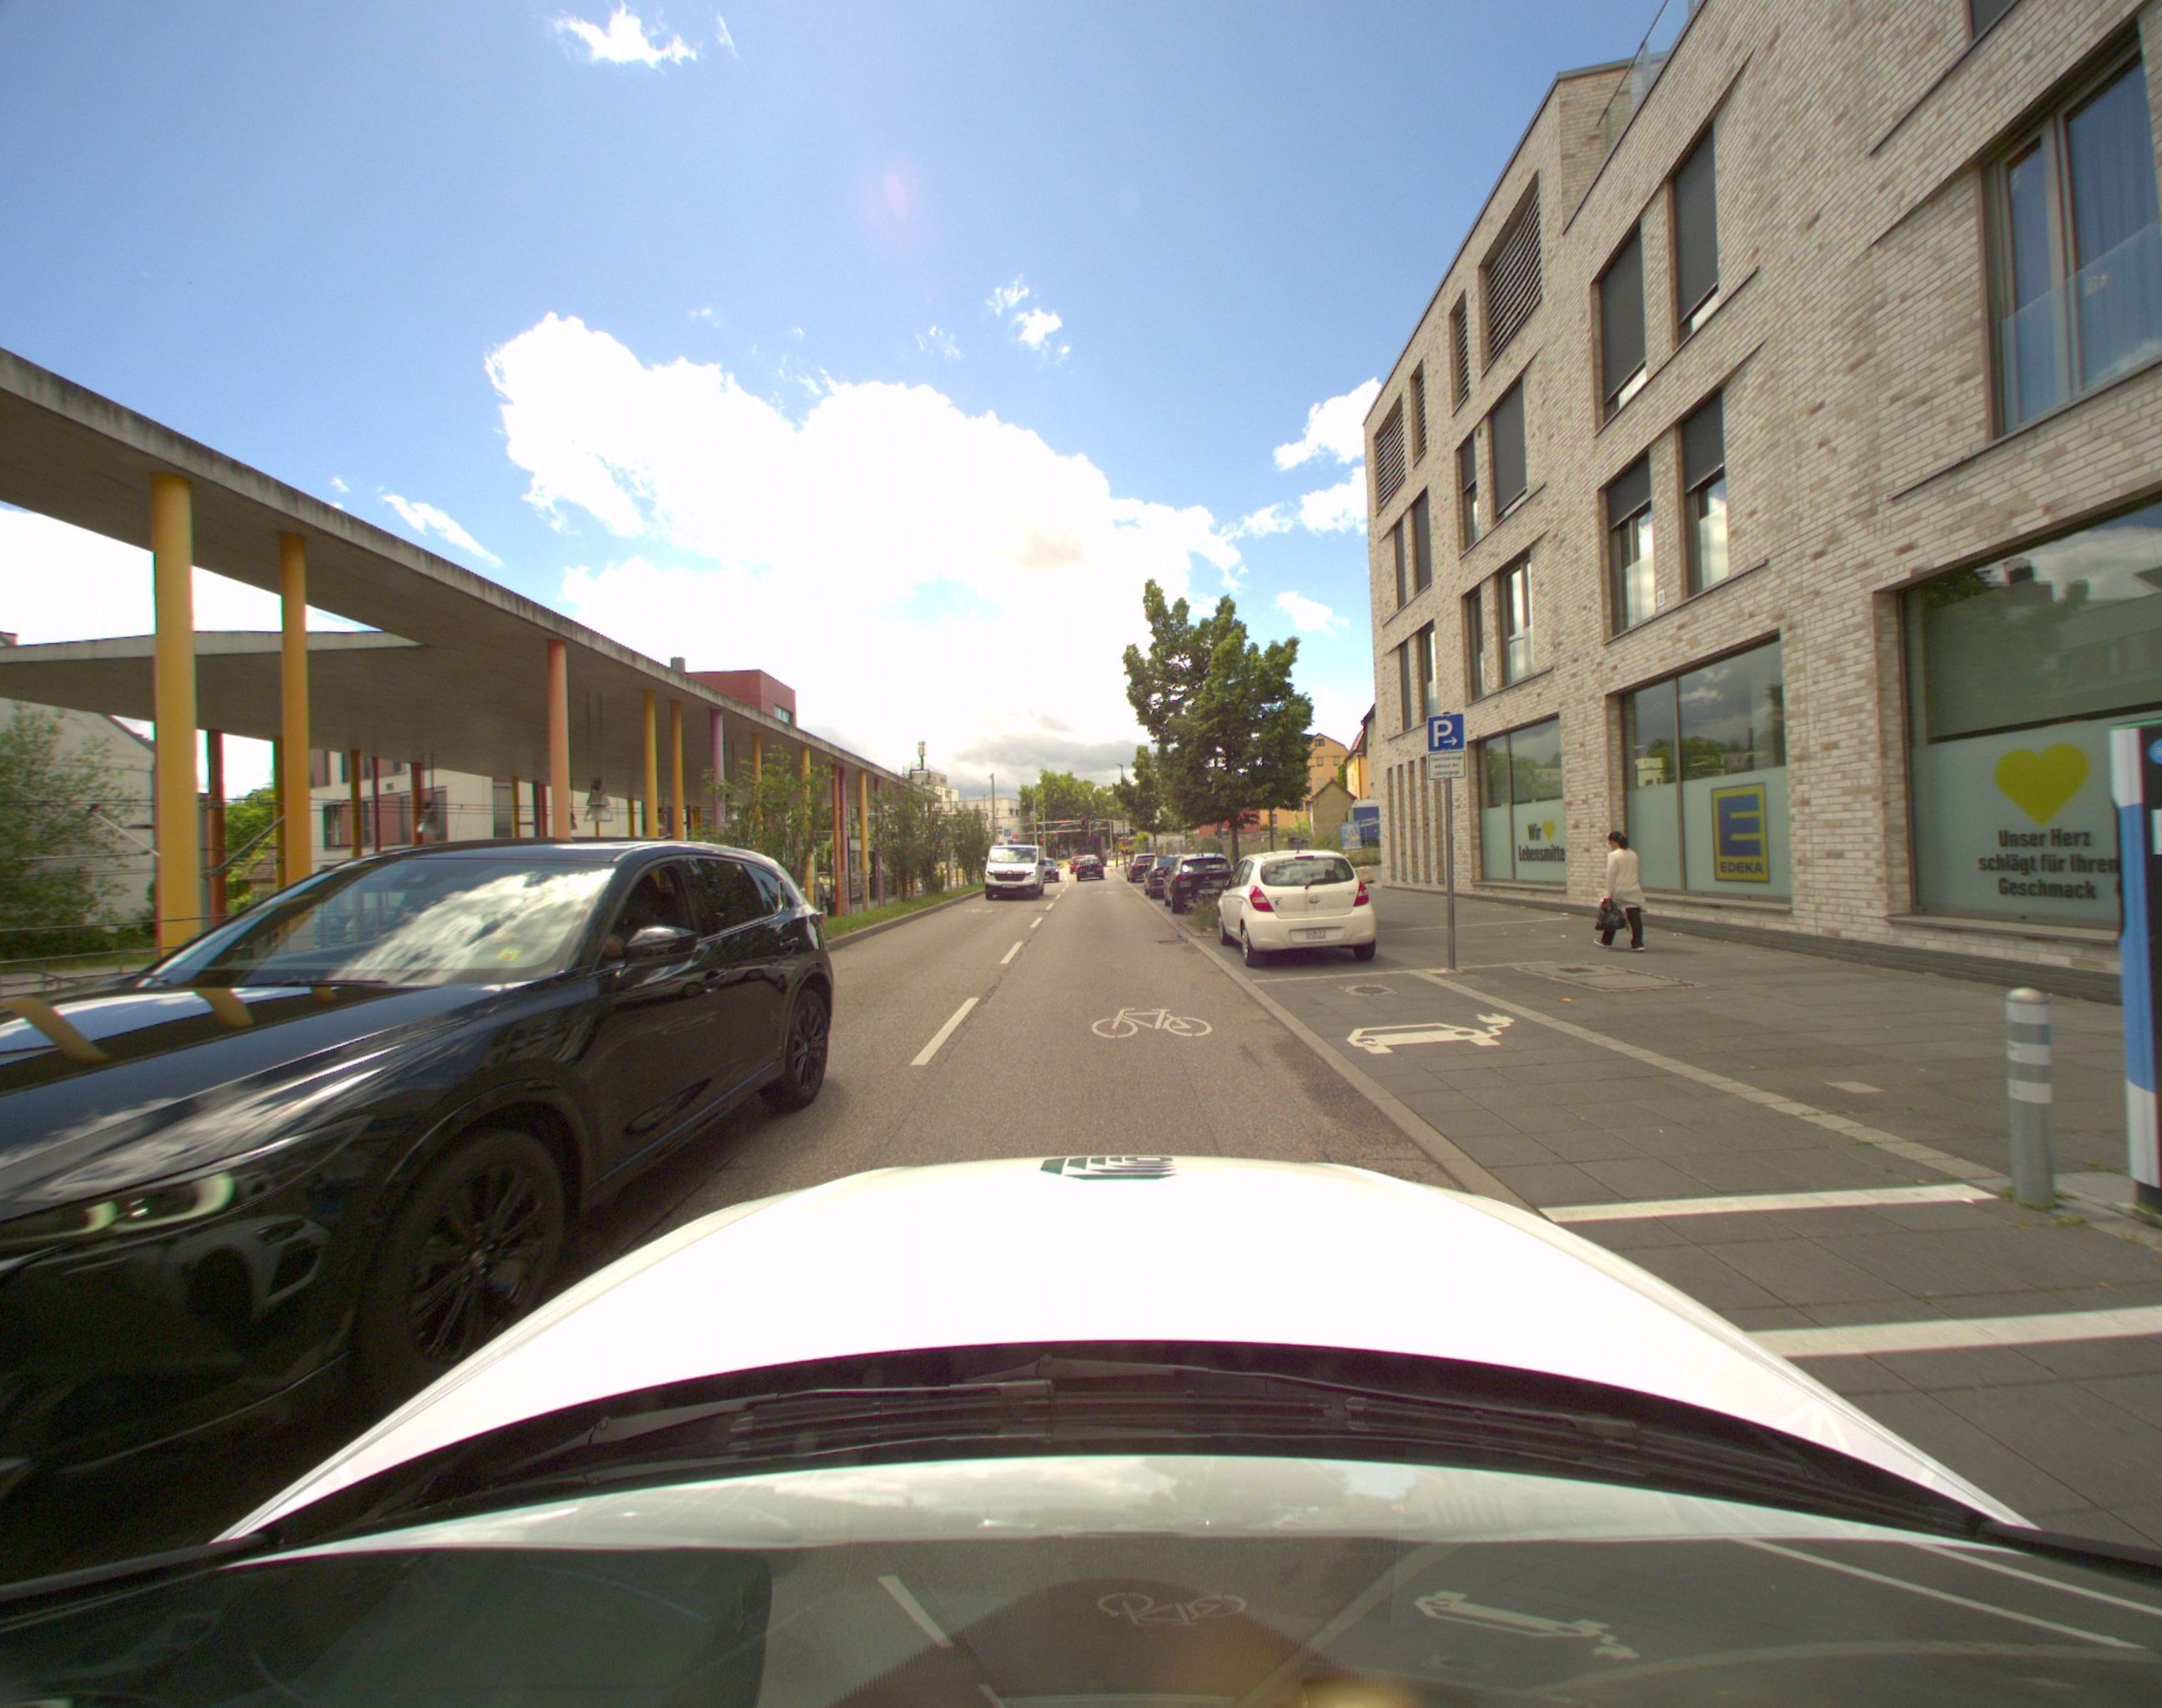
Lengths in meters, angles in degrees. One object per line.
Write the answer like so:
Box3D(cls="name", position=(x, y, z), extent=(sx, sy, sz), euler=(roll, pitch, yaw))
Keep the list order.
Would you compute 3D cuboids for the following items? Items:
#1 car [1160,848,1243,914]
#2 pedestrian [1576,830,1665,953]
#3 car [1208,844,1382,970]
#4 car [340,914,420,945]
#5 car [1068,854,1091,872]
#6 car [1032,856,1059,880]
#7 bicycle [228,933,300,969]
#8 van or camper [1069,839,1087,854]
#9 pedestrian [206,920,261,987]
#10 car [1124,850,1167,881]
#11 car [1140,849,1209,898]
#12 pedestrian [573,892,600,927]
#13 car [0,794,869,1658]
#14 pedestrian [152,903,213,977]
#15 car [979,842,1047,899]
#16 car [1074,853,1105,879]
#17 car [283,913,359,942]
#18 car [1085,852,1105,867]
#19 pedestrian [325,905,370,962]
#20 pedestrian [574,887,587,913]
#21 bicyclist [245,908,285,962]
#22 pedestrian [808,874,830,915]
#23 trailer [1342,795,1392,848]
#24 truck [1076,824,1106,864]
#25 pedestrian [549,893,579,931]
Box3D(cls="car", position=(3.081, 0.648, 21.570), extent=(1.686, 1.461, 4.149), euler=(-4, 0, 2))
Box3D(cls="pedestrian", position=(6.841, 0.456, 10.362), extent=(0.603, 1.472, 0.793), euler=(-3, 0, 9))
Box3D(cls="car", position=(2.985, 0.666, 12.131), extent=(1.686, 1.483, 3.800), euler=(-4, 0, 3))
Box3D(cls="car", position=(-35.949, 3.877, 41.756), extent=(3.672, 1.325, 1.656), euler=(-5, -4, 24))
Box3D(cls="car", position=(-0.193, 0.707, 69.021), extent=(1.708, 1.393, 3.804), euler=(-3, 0, -3))
Box3D(cls="car", position=(-2.294, 0.883, 52.526), extent=(1.720, 1.521, 4.250), euler=(0, 0, -3))
Box3D(cls="bicycle", position=(-24.878, 2.937, 24.839), extent=(0.481, 0.963, 1.614), euler=(-1, -2, 4))
Box3D(cls="van or camper", position=(-0.576, -1.591, 173.203), extent=(2.159, 2.805, 6.093), euler=(-1, -2, 15))
Box3D(cls="pedestrian", position=(-22.142, 2.588, 21.292), extent=(0.639, 1.662, 0.730), euler=(-1, -2, 1))
Box3D(cls="car", position=(3.322, 0.563, 42.611), extent=(1.776, 1.451, 4.474), euler=(-4, 0, -1))
Box3D(cls="car", position=(3.127, 0.612, 28.099), extent=(1.858, 1.451, 4.644), euler=(-4, 0, 1))
Box3D(cls="pedestrian", position=(-20.085, 2.247, 33.076), extent=(0.649, 1.379, 0.702), euler=(-1, 1, 1))
Box3D(cls="car", position=(-2.540, 0.713, 3.822), extent=(1.914, 1.605, 4.625), euler=(-1, 0, -1))
Box3D(cls="pedestrian", position=(-23.486, 2.227, 21.307), extent=(0.639, 1.883, 0.800), euler=(-1, -2, 1))
Box3D(cls="car", position=(-2.428, 0.573, 30.267), extent=(1.997, 1.917, 5.065), euler=(-1, 0, 1))
Box3D(cls="car", position=(0.527, 0.726, 51.340), extent=(1.722, 1.456, 3.806), euler=(-3, 0, -2))
Box3D(cls="car", position=(-40.867, 3.951, 43.796), extent=(3.672, 1.325, 1.656), euler=(-5, -4, 24))
Box3D(cls="car", position=(1.468, 0.637, 86.265), extent=(1.883, 1.465, 4.066), euler=(-3, -1, -2))
Box3D(cls="pedestrian", position=(-22.381, 2.415, 24.860), extent=(0.639, 1.662, 0.730), euler=(-1, -2, 1))
Box3D(cls="pedestrian", position=(-25.570, 2.343, 41.614), extent=(0.514, 1.305, 0.521), euler=(0, -2, -23))
Box3D(cls="bicyclist", position=(-24.885, 2.448, 24.850), extent=(0.481, 1.593, 0.682), euler=(-1, -2, 3))
Box3D(cls="pedestrian", position=(-10.629, 1.625, 33.082), extent=(0.627, 1.614, 0.636), euler=(-1, 1, 2))
Box3D(cls="trailer", position=(18.778, -2.043, 53.727), extent=(2.387, 3.122, 6.185), euler=(-4, 0, 14))
Box3D(cls="truck", position=(1.334, -1.088, 99.974), extent=(3.190, 4.536, 9.034), euler=(-1, -1, 3))
Box3D(cls="pedestrian", position=(-20.120, 2.253, 31.689), extent=(0.683, 1.379, 0.705), euler=(-1, 1, 1))
